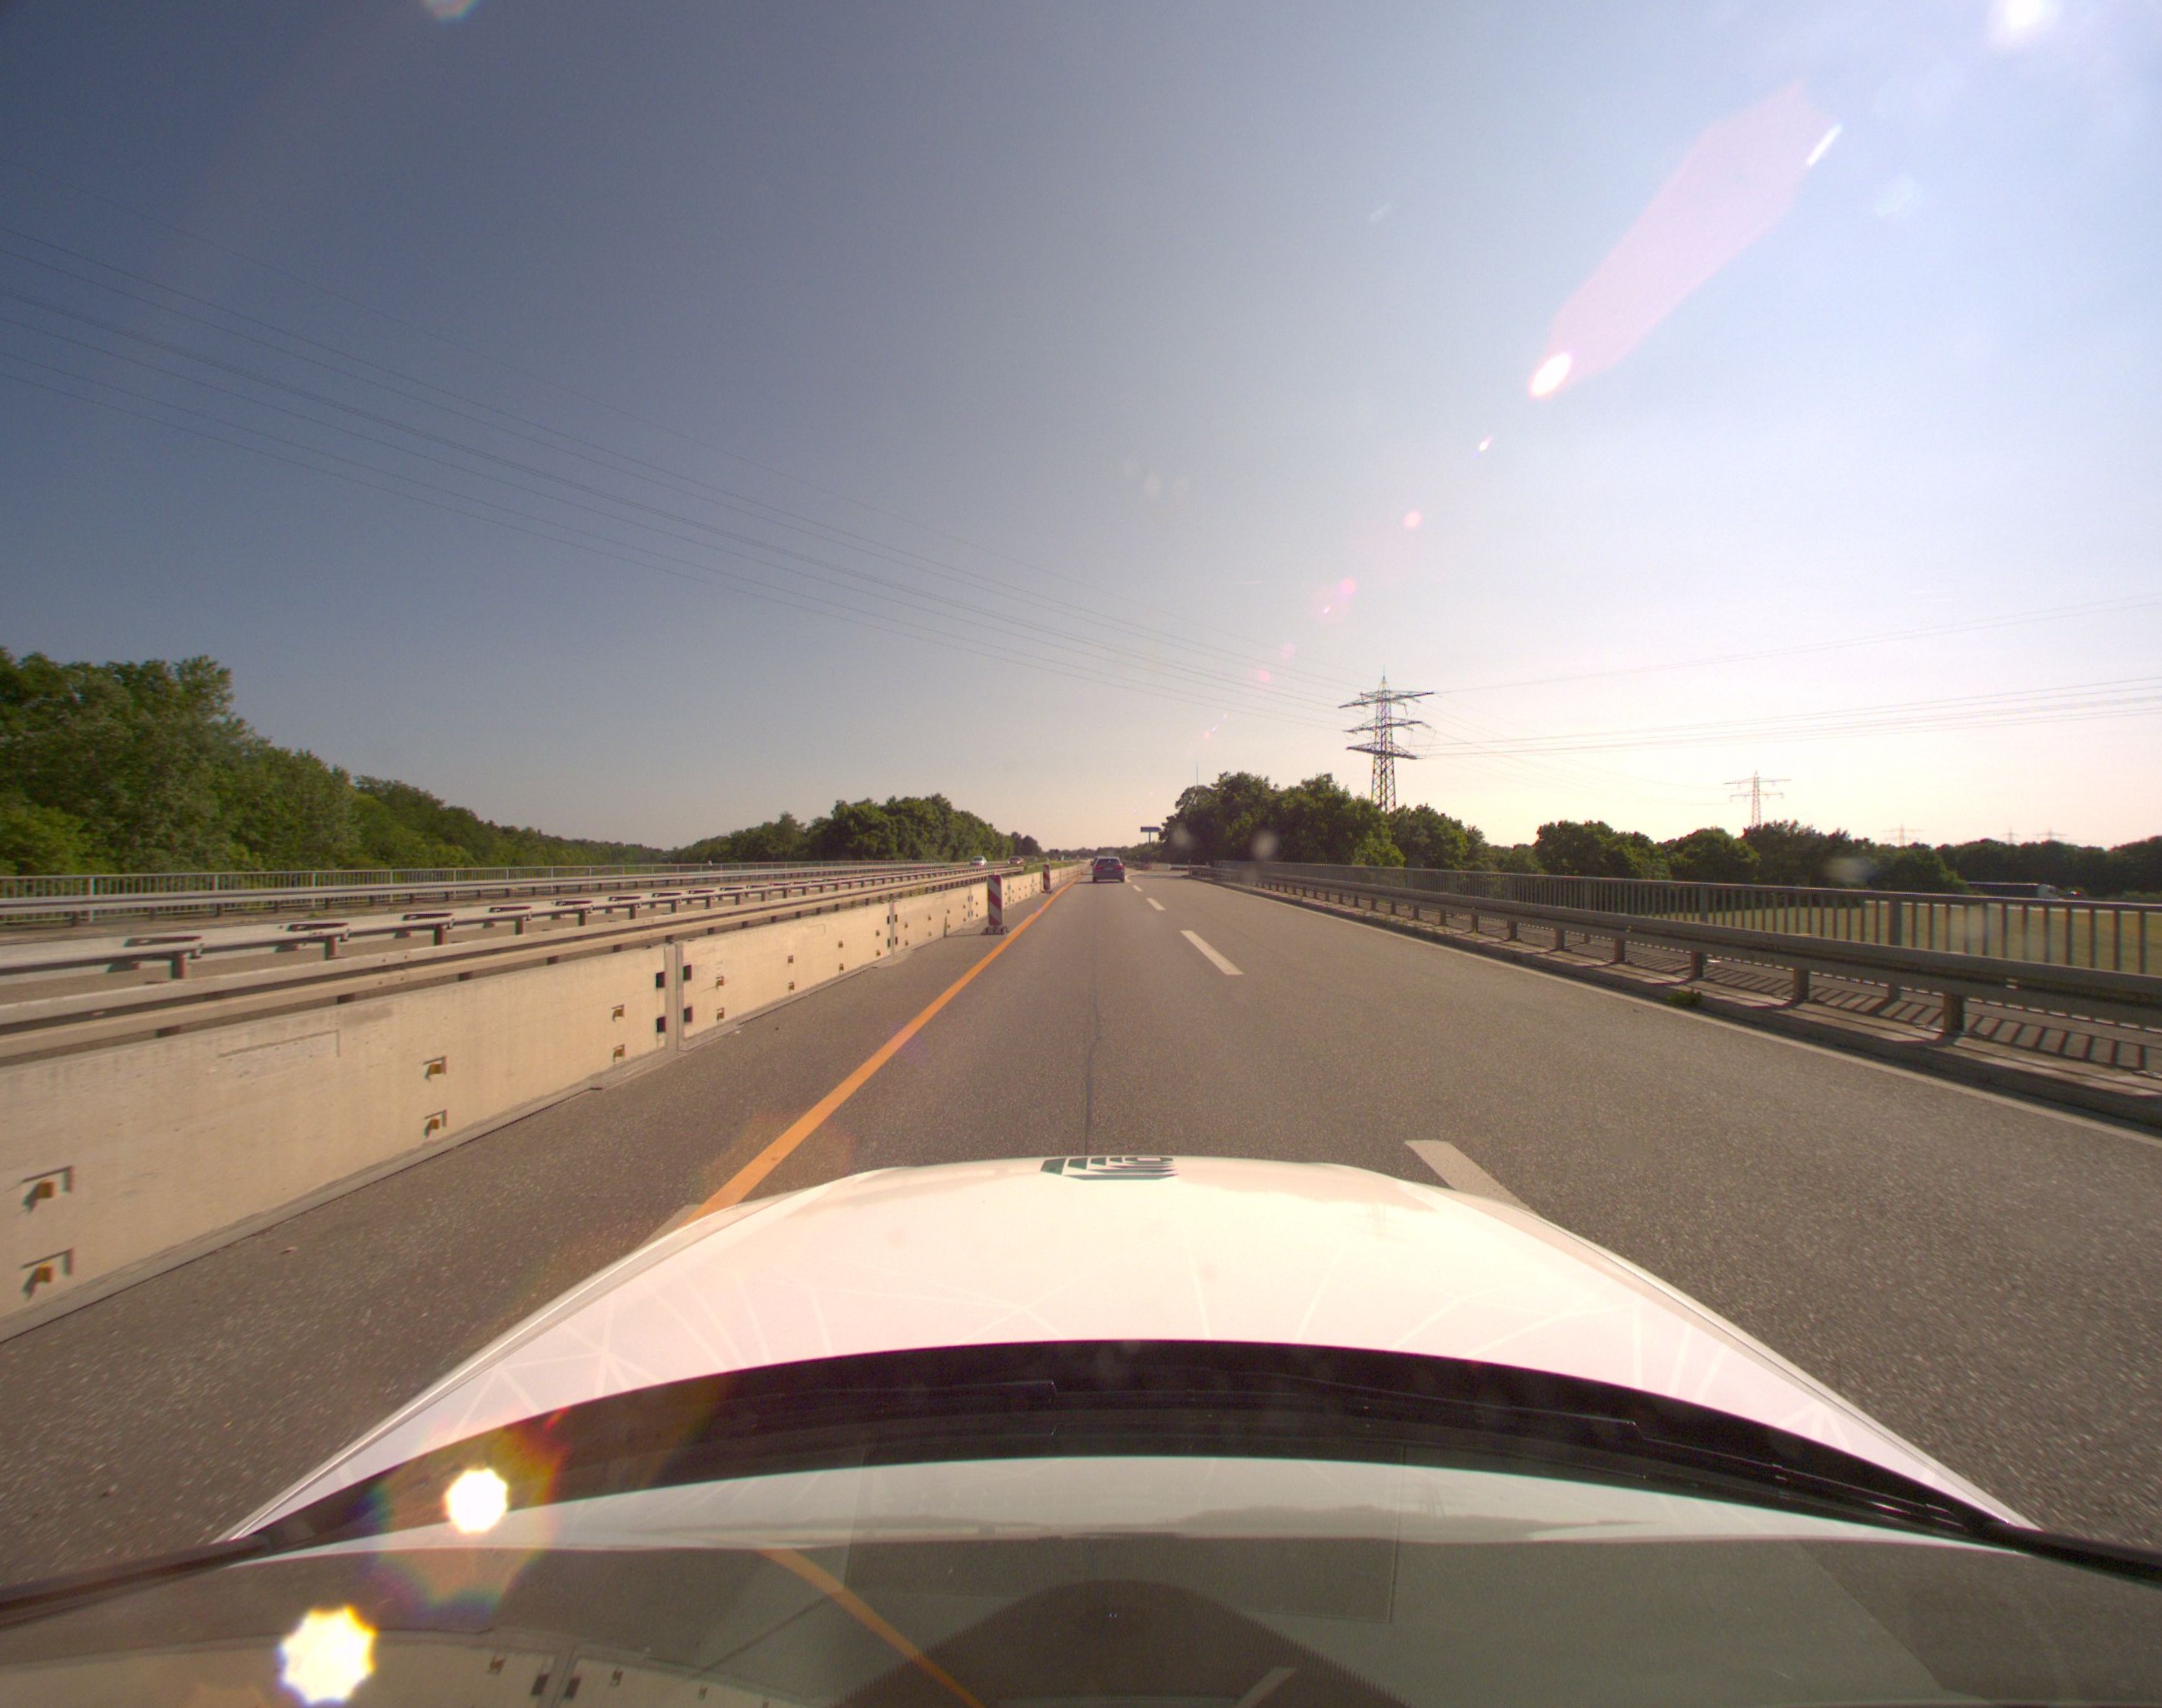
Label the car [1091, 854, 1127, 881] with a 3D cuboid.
[{"bbox_3d":[1.567,0.749,46.172,1.914,1.494,3.999,0,0,0],"label":"car"}]

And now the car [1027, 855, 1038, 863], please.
[{"bbox_3d":[-10.568,1.149,177.610,1.756,1.583,4.424,-2,0,2],"label":"car"}]

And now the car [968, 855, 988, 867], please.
[{"bbox_3d":[-12.760,0.902,101.266,1.771,1.393,4.127,-2,0,1],"label":"car"}]

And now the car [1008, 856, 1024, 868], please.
[{"bbox_3d":[-8.277,1.004,103.905,1.708,1.397,4.221,-1,0,1],"label":"car"}]

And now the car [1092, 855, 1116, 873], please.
[{"bbox_3d":[2.056,0.872,71.837,1.986,1.567,4.002,-1,0,2],"label":"car"}]
